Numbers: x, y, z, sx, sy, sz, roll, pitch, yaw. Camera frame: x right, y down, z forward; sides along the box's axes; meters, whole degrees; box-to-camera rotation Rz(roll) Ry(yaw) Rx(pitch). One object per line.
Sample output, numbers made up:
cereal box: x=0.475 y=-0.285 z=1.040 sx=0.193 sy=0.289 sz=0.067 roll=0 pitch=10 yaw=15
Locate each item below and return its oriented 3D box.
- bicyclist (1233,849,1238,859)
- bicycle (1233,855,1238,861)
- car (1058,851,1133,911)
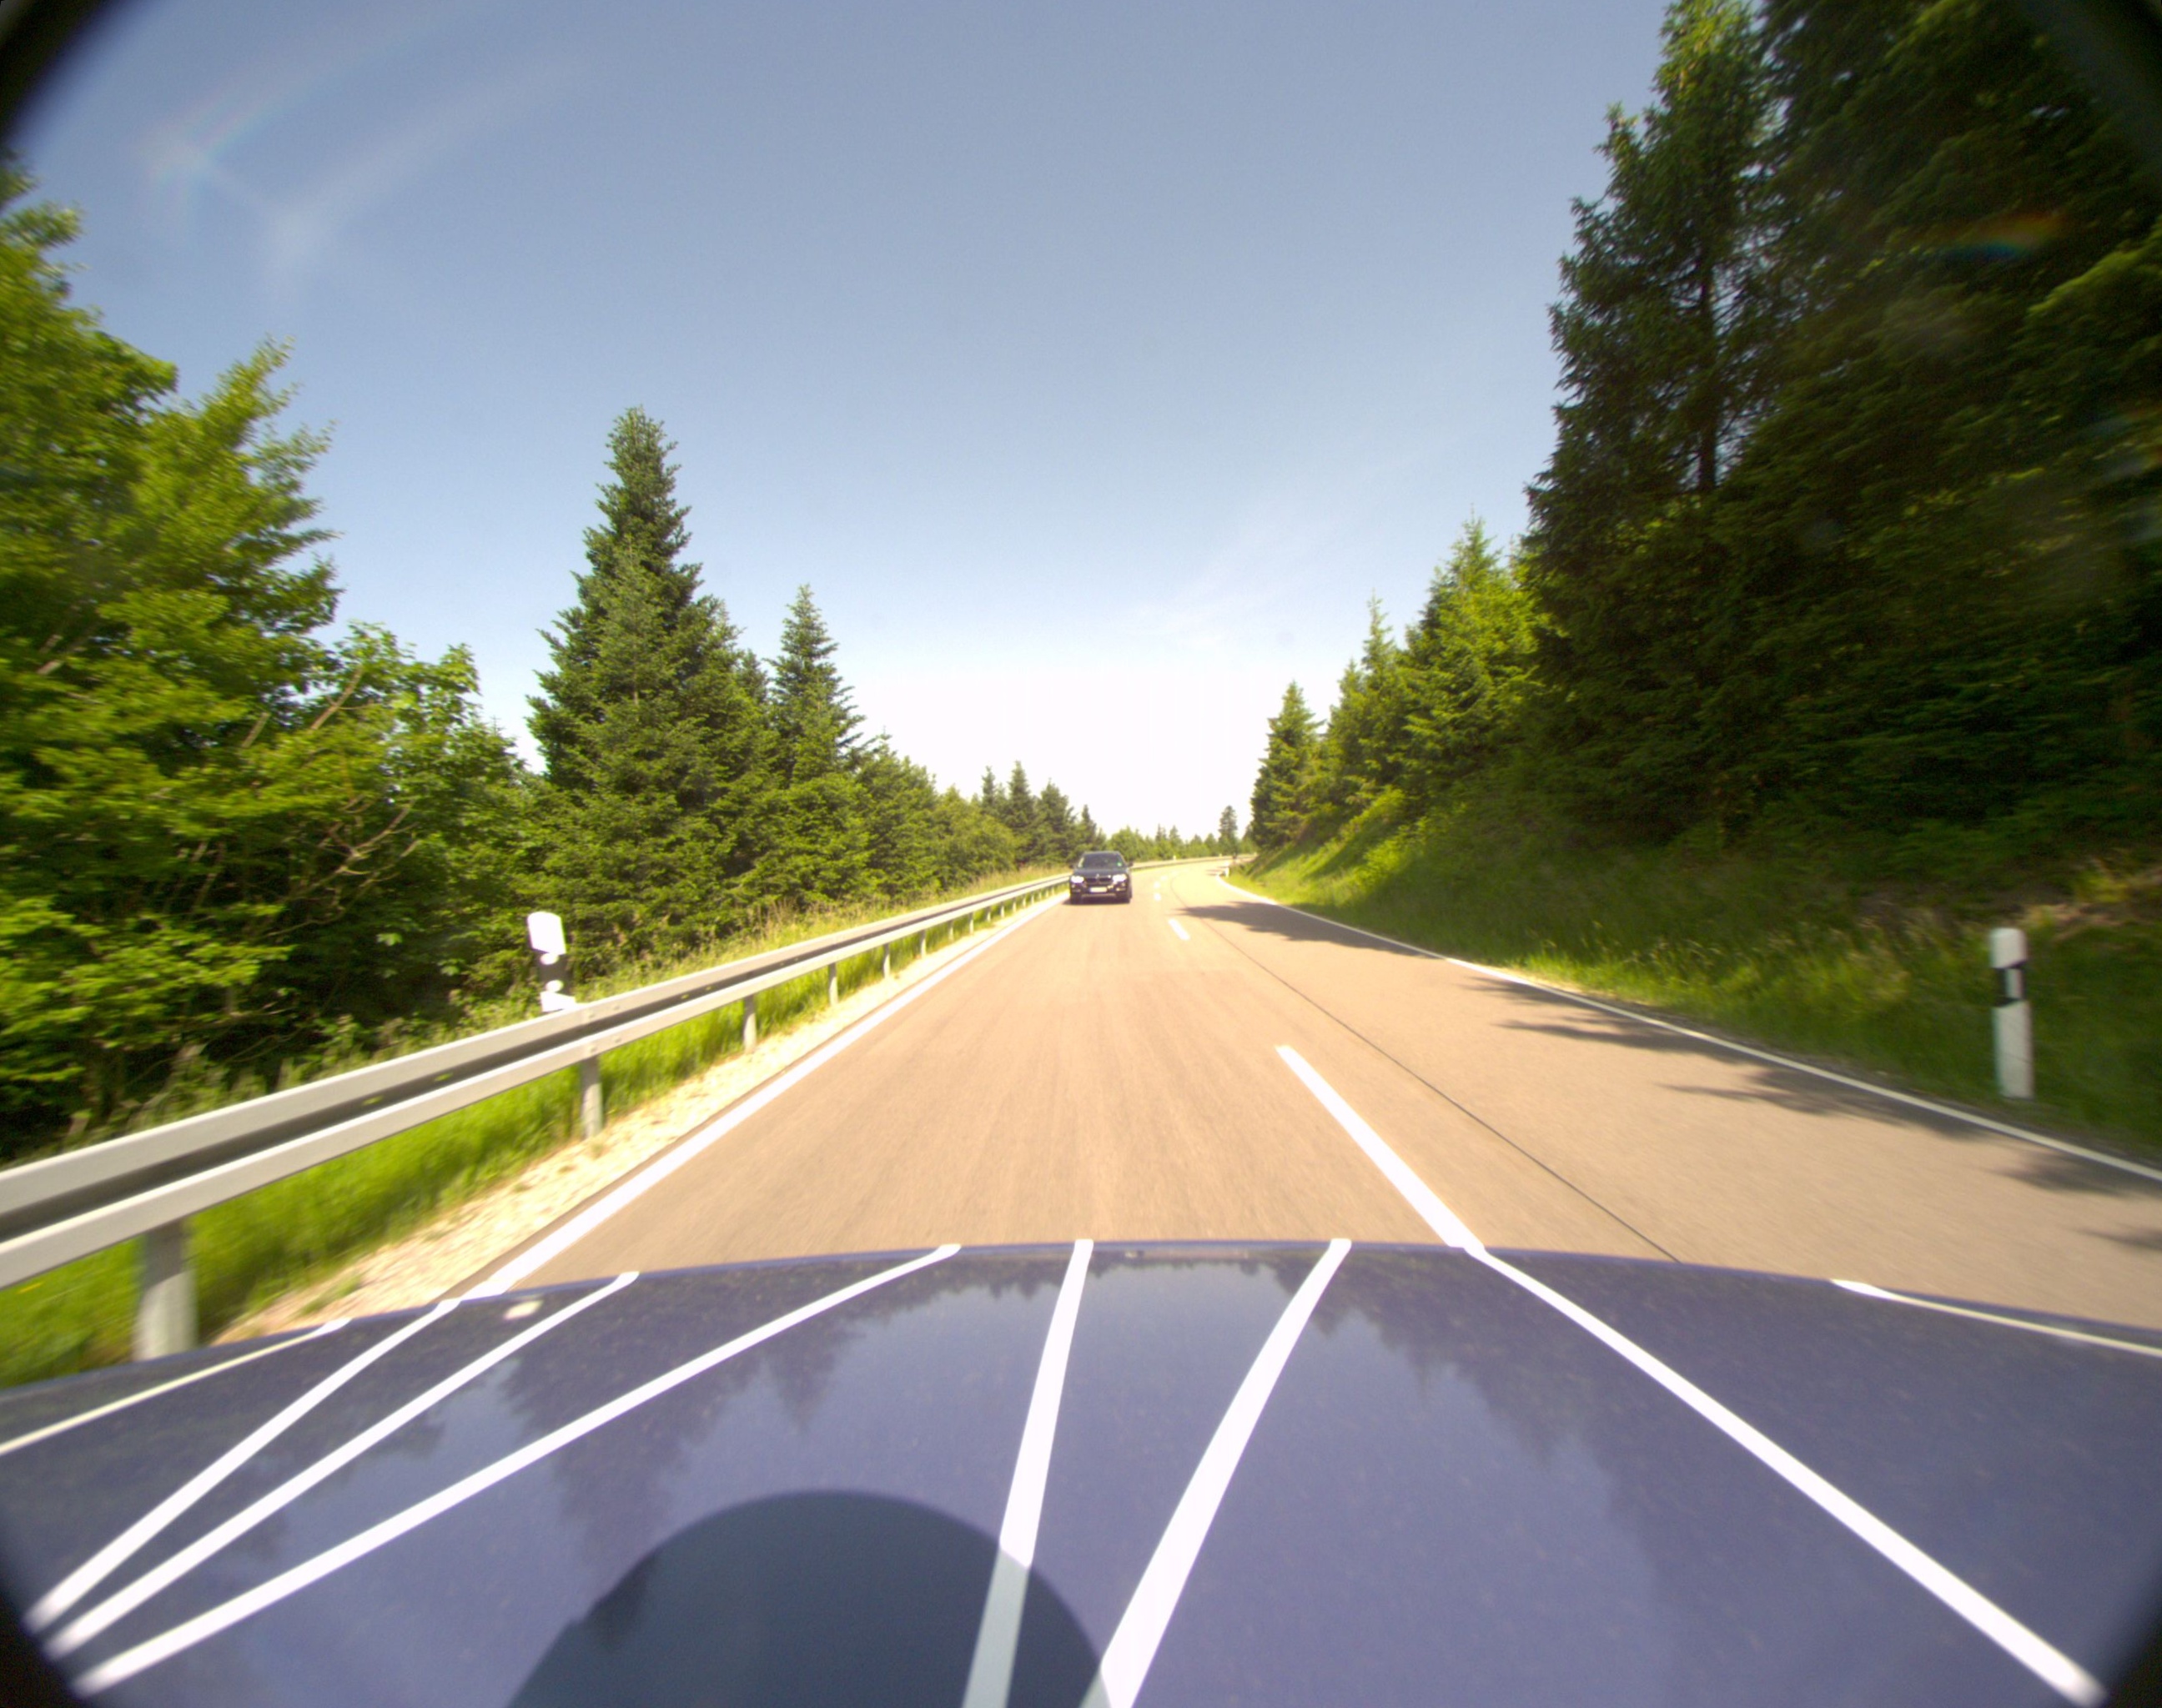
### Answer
bicyclist: x=21.509 y=0.020 z=105.835 sx=0.542 sy=1.442 sz=0.984 roll=0 pitch=1 yaw=13
bicycle: x=21.481 y=0.524 z=105.756 sx=0.554 sy=0.881 sz=2.064 roll=0 pitch=1 yaw=13
car: x=0.608 y=0.790 z=24.637 sx=1.998 sy=1.676 sz=5.939 roll=-1 pitch=0 yaw=5
